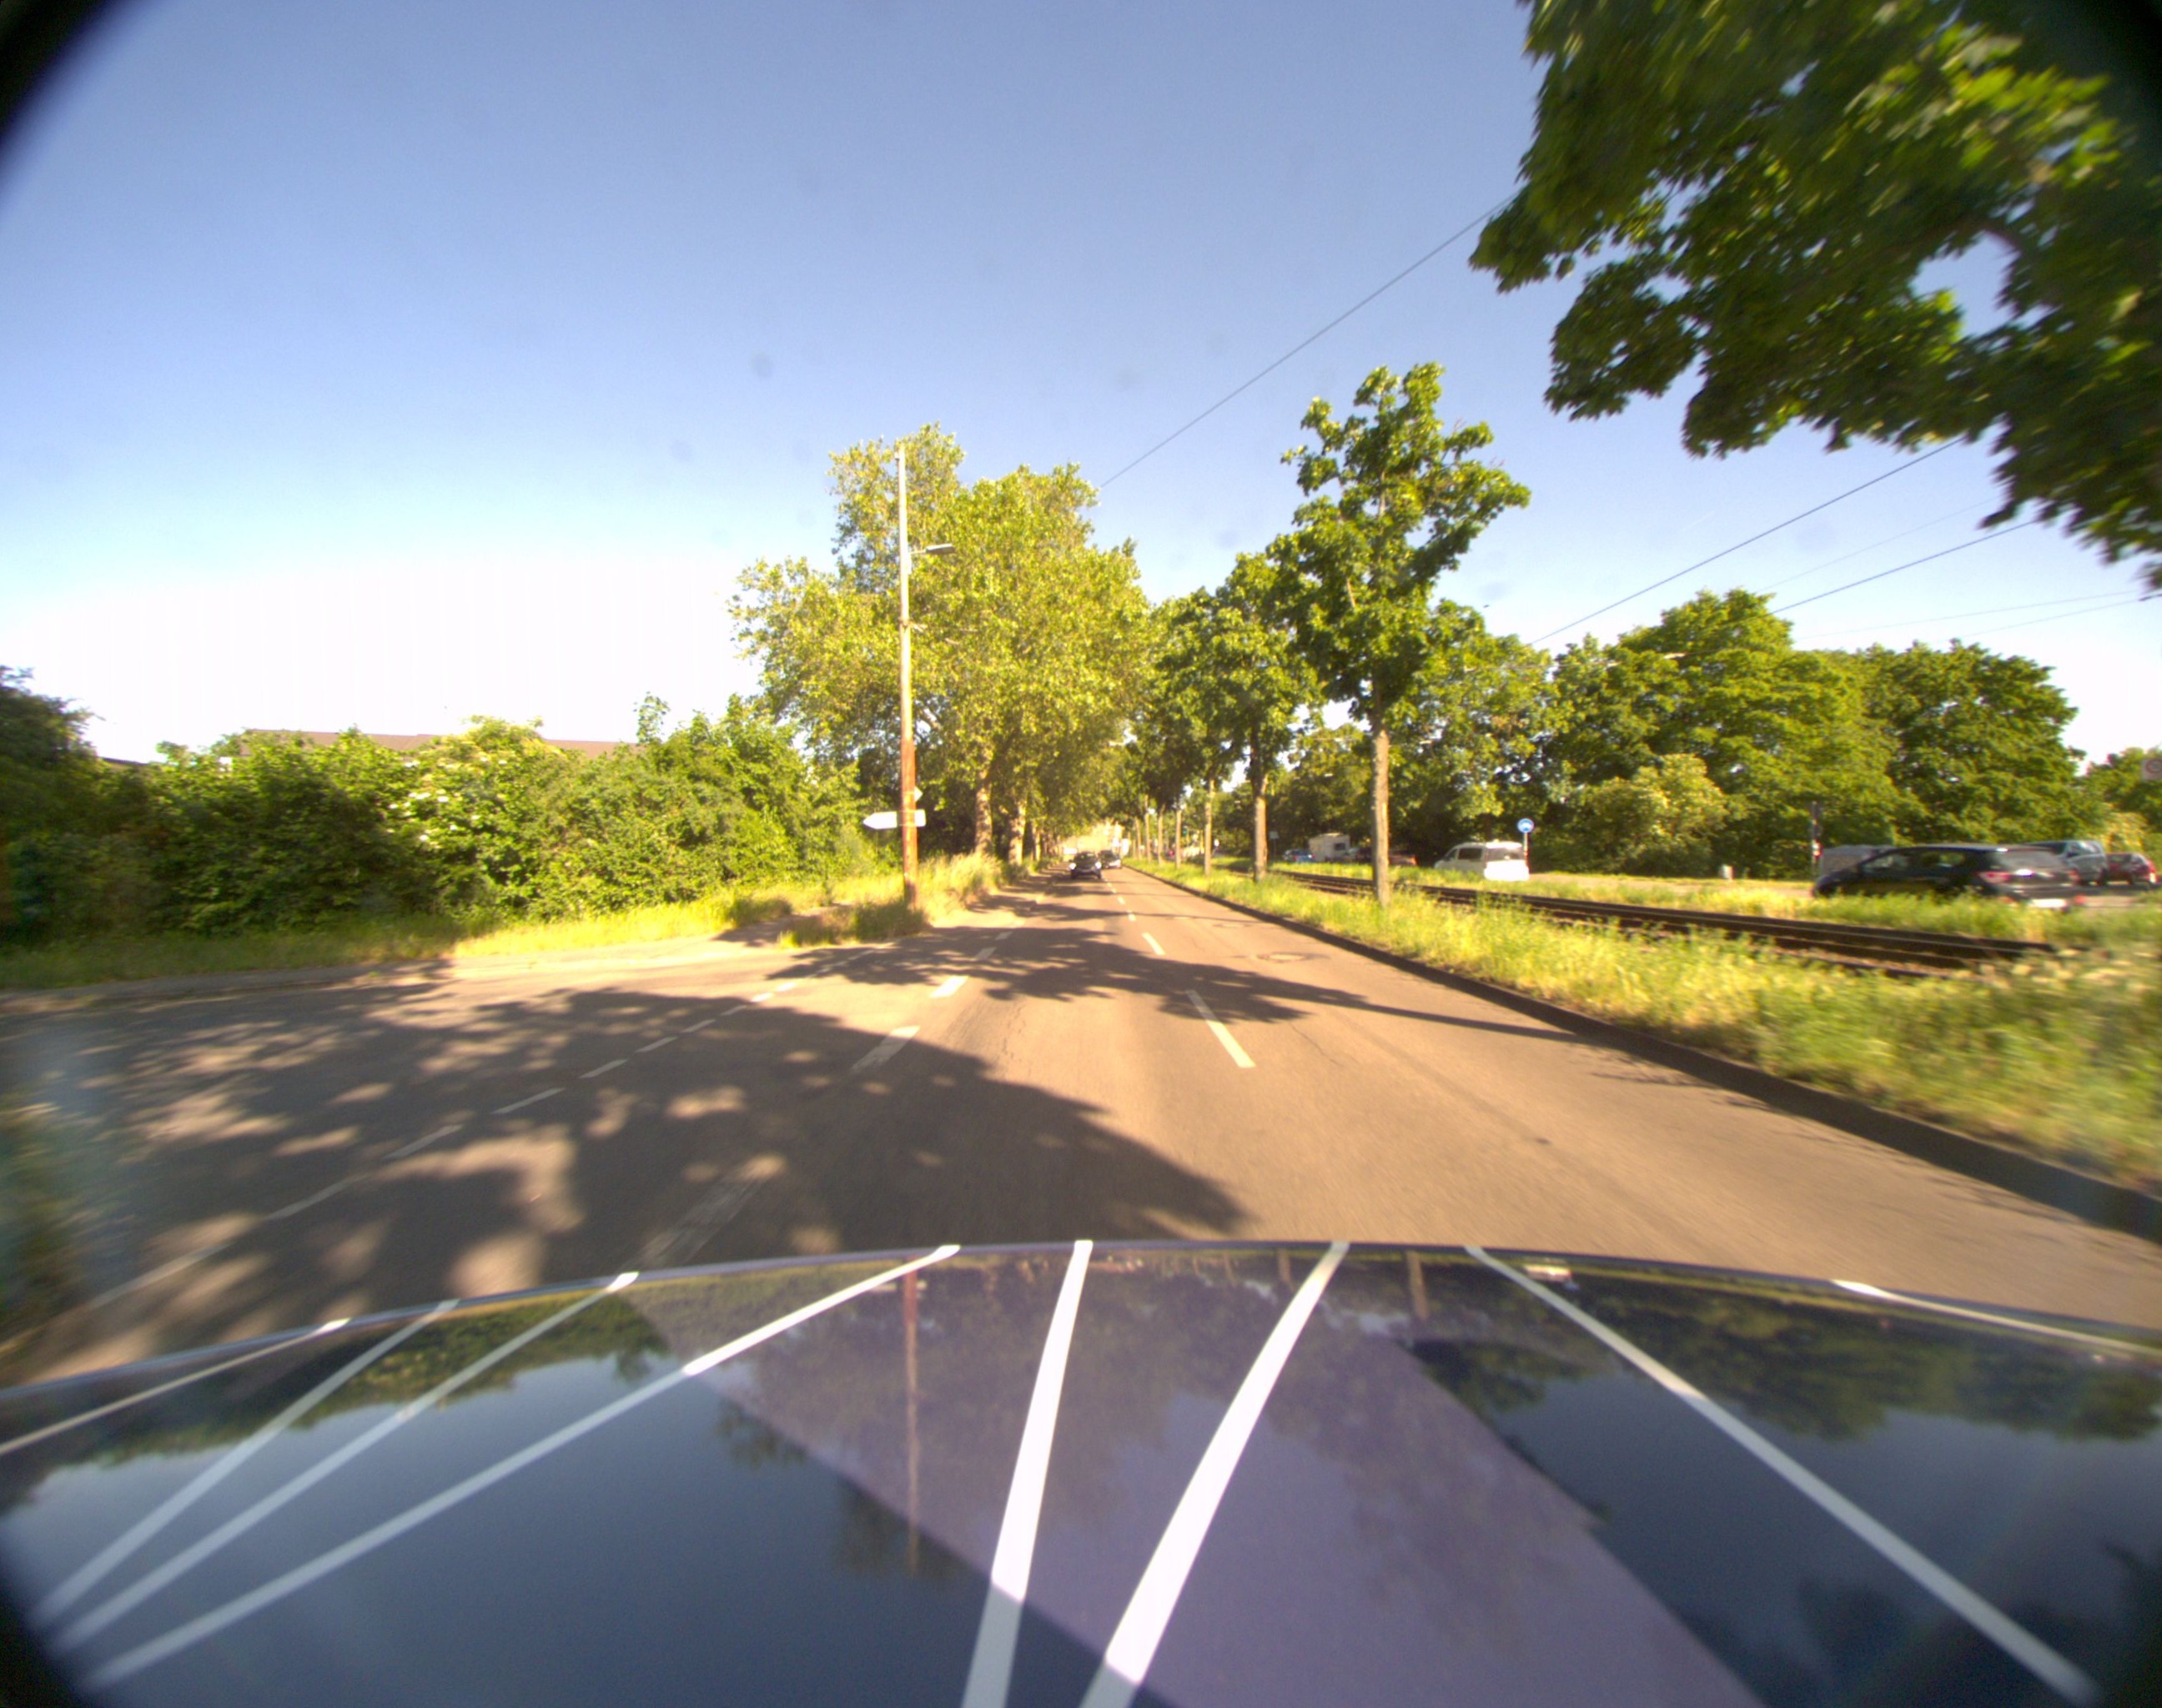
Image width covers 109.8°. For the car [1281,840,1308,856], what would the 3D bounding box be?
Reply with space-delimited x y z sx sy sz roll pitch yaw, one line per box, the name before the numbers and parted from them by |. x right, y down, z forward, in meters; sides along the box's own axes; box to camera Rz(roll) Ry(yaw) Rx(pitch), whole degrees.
car | 22.325 -0.620 79.485 1.772 1.554 4.281 -2 1 3

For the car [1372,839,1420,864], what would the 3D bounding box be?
car | 21.648 -0.210 52.379 1.678 1.575 4.247 -3 1 2

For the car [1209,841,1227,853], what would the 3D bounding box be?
car | 19.716 -1.023 109.378 1.731 1.519 4.441 -3 1 1

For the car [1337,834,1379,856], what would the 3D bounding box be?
car | 21.678 -0.754 59.712 1.626 1.613 4.532 -3 1 0

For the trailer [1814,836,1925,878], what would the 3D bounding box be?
trailer | 32.432 0.106 31.268 3.762 1.496 1.751 -3 2 -19

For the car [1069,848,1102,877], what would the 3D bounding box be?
car | 0.258 0.471 45.196 1.808 1.478 3.546 -3 1 0

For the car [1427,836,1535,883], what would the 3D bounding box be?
car | 16.400 0.153 31.482 1.815 1.734 4.980 -3 1 1

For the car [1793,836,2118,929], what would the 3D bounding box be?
car | 16.481 0.460 14.674 1.998 1.522 3.751 -1 1 2

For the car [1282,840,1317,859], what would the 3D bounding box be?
car | 16.739 -0.370 58.359 1.561 1.387 3.819 -3 1 0

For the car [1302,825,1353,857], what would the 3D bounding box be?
car | 21.664 -1.144 67.117 2.231 2.566 6.798 -3 1 1

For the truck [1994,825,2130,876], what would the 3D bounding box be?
truck | 42.207 -0.177 32.705 4.946 1.858 2.080 -3 2 -19

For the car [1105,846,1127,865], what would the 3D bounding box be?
car | 2.979 0.083 65.447 1.714 1.478 3.546 -3 1 1
